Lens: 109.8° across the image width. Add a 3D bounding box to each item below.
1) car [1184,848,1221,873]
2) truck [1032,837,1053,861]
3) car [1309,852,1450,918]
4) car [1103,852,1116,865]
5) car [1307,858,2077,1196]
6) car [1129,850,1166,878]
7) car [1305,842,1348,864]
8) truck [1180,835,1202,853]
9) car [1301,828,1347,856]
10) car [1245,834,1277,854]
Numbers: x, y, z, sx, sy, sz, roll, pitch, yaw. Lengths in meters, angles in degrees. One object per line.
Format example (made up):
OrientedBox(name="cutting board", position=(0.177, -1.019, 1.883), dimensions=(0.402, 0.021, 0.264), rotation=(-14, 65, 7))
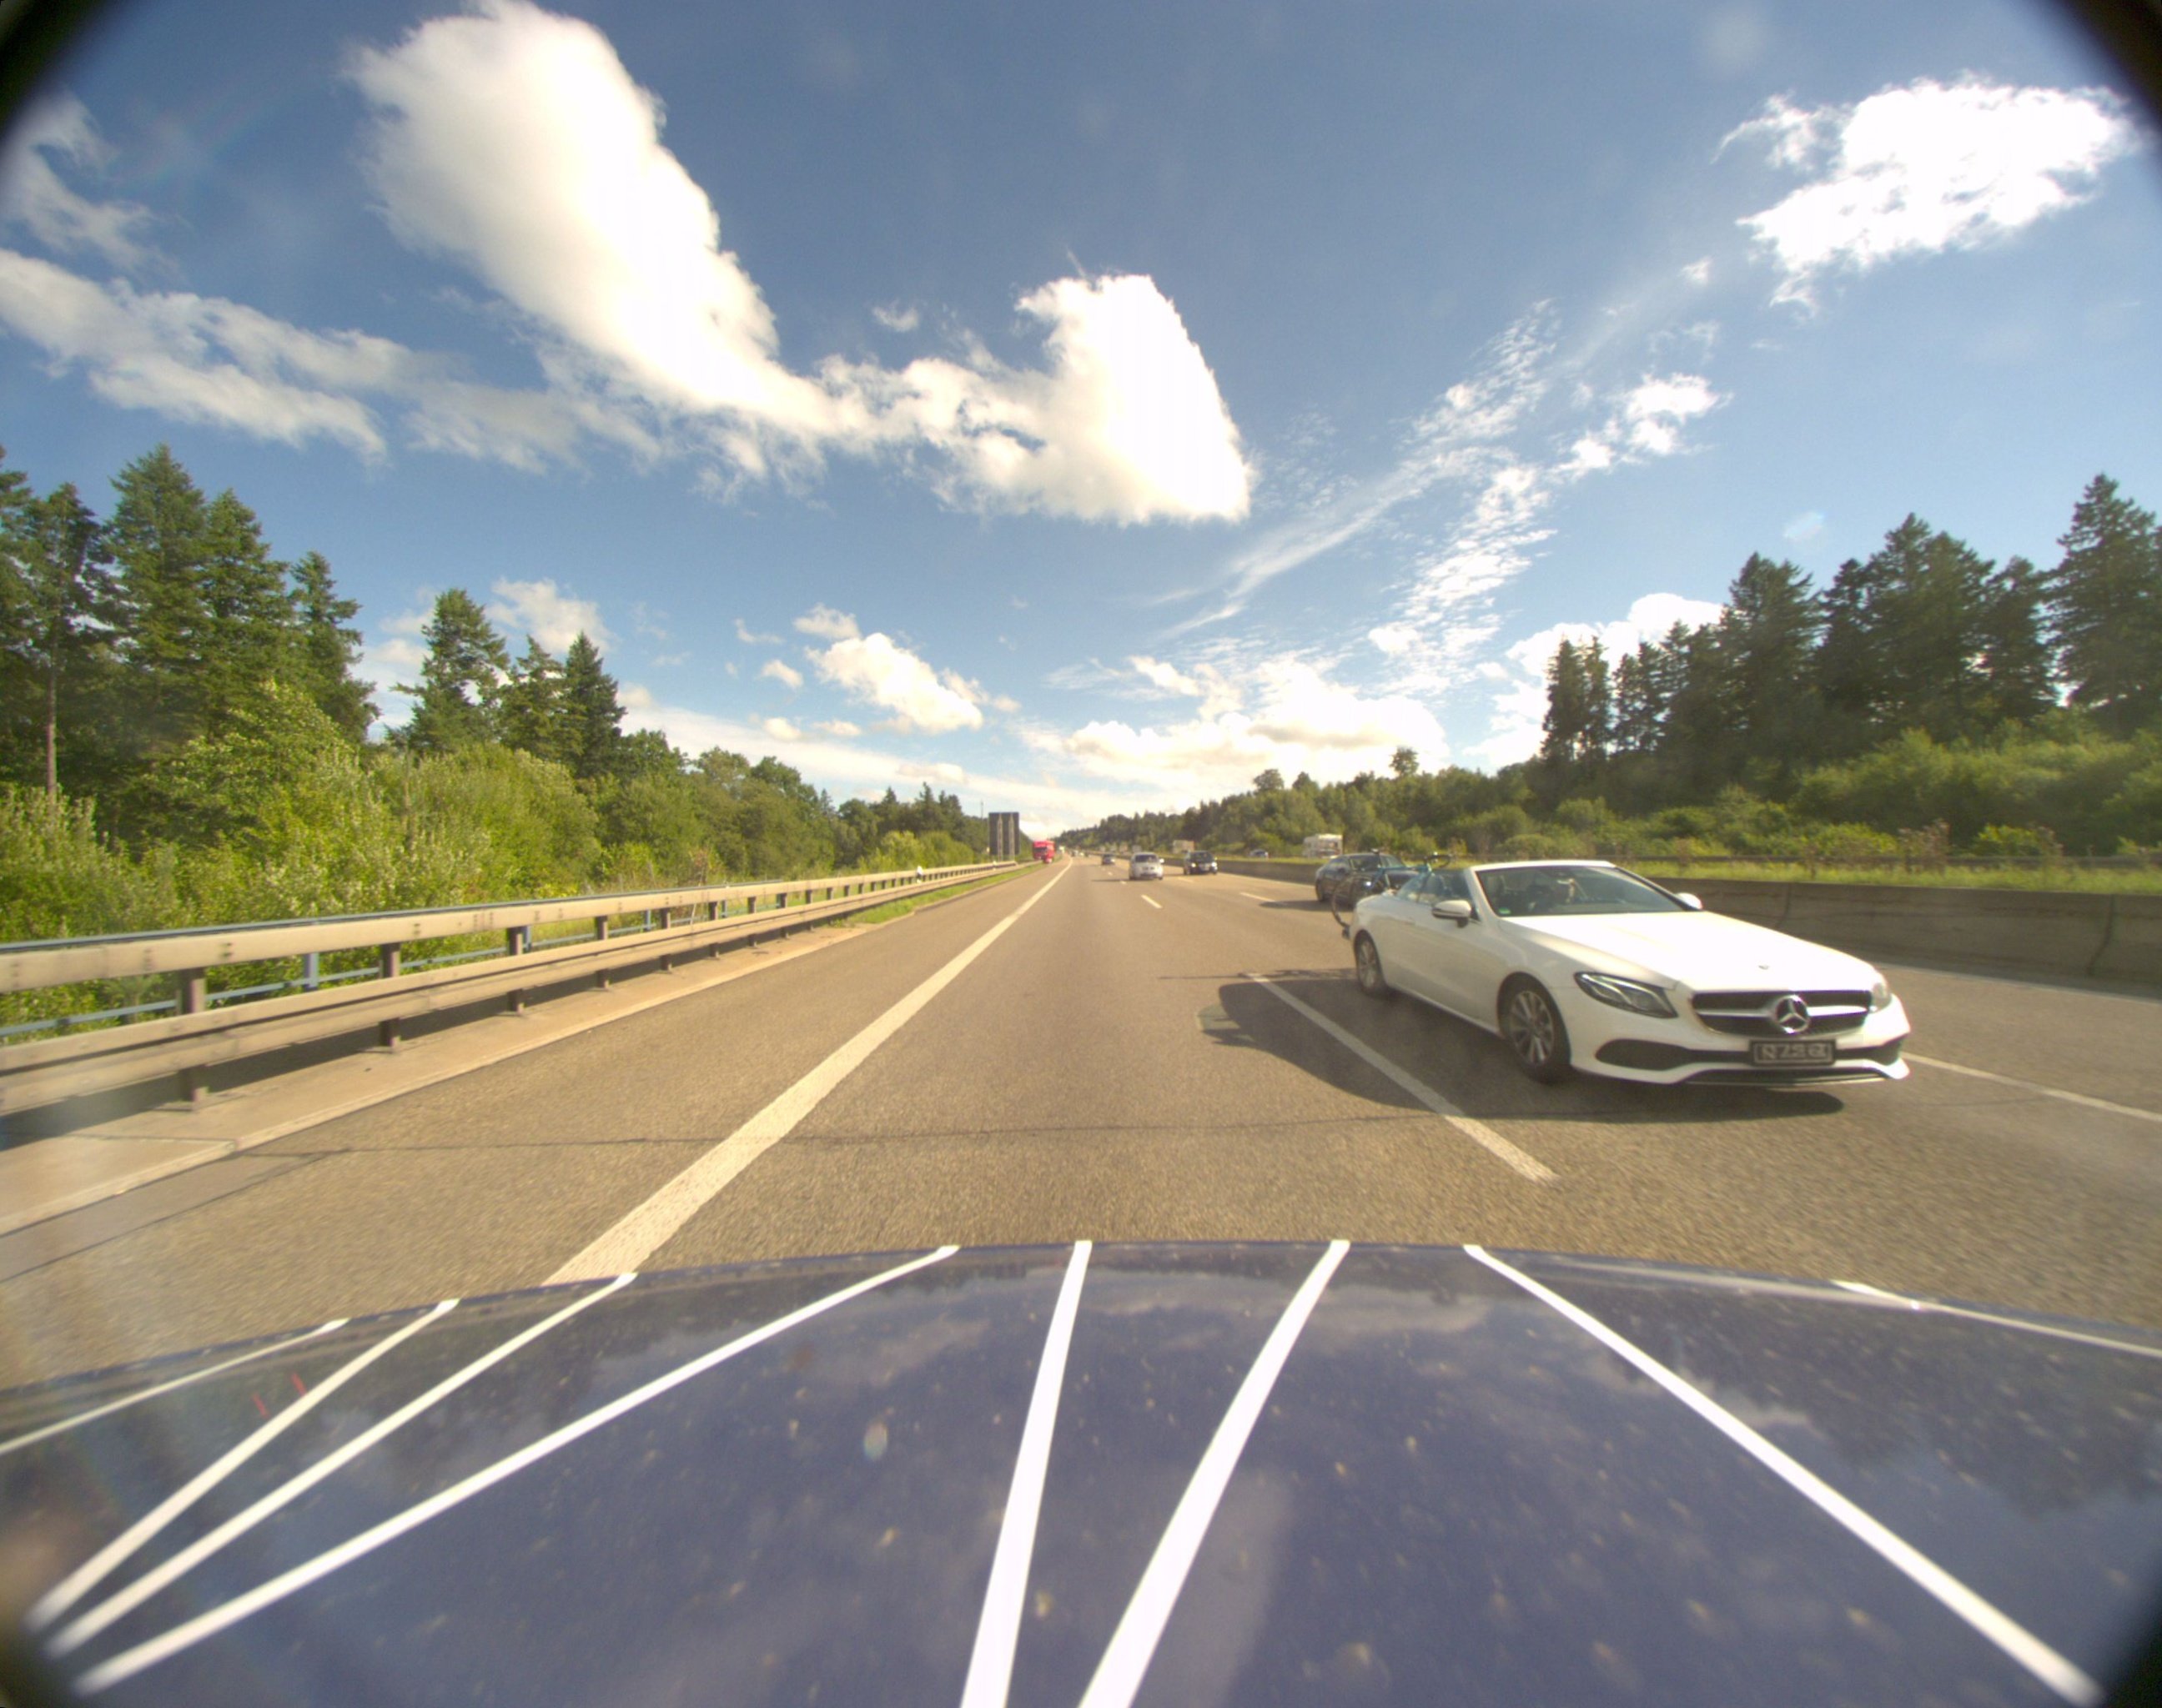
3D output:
OrientedBox(name="car", position=(8.017, 0.382, 50.538), dimensions=(1.840, 1.509, 4.333), rotation=(-2, 0, 1))
OrientedBox(name="truck", position=(-6.566, -0.927, 131.204), dimensions=(2.880, 3.871, 8.958), rotation=(-2, 1, 1))
OrientedBox(name="car", position=(7.579, 0.708, 19.883), dimensions=(1.860, 1.423, 4.841), rotation=(-2, 1, 1))
OrientedBox(name="car", position=(3.836, 0.565, 102.320), dimensions=(1.742, 1.608, 4.083), rotation=(-2, 0, 1))
OrientedBox(name="car", position=(3.785, 0.854, 6.515), dimensions=(2.065, 1.490, 5.736), rotation=(-2, 1, 1))
OrientedBox(name="car", position=(3.821, 0.553, 44.085), dimensions=(1.840, 1.509, 4.333), rotation=(-2, 0, 1))
OrientedBox(name="car", position=(17.795, -0.081, 55.245), dimensions=(1.824, 1.412, 3.999), rotation=(-4, 1, 1))
OrientedBox(name="truck", position=(24.950, -2.252, 173.195), dimensions=(3.323, 3.880, 11.739), rotation=(-2, 1, 1))
OrientedBox(name="car", position=(23.738, -1.173, 74.357), dimensions=(2.550, 2.462, 5.844), rotation=(-4, 1, 1))
OrientedBox(name="car", position=(20.040, -1.098, 84.697), dimensions=(2.324, 2.024, 5.031), rotation=(-4, 1, 1))
